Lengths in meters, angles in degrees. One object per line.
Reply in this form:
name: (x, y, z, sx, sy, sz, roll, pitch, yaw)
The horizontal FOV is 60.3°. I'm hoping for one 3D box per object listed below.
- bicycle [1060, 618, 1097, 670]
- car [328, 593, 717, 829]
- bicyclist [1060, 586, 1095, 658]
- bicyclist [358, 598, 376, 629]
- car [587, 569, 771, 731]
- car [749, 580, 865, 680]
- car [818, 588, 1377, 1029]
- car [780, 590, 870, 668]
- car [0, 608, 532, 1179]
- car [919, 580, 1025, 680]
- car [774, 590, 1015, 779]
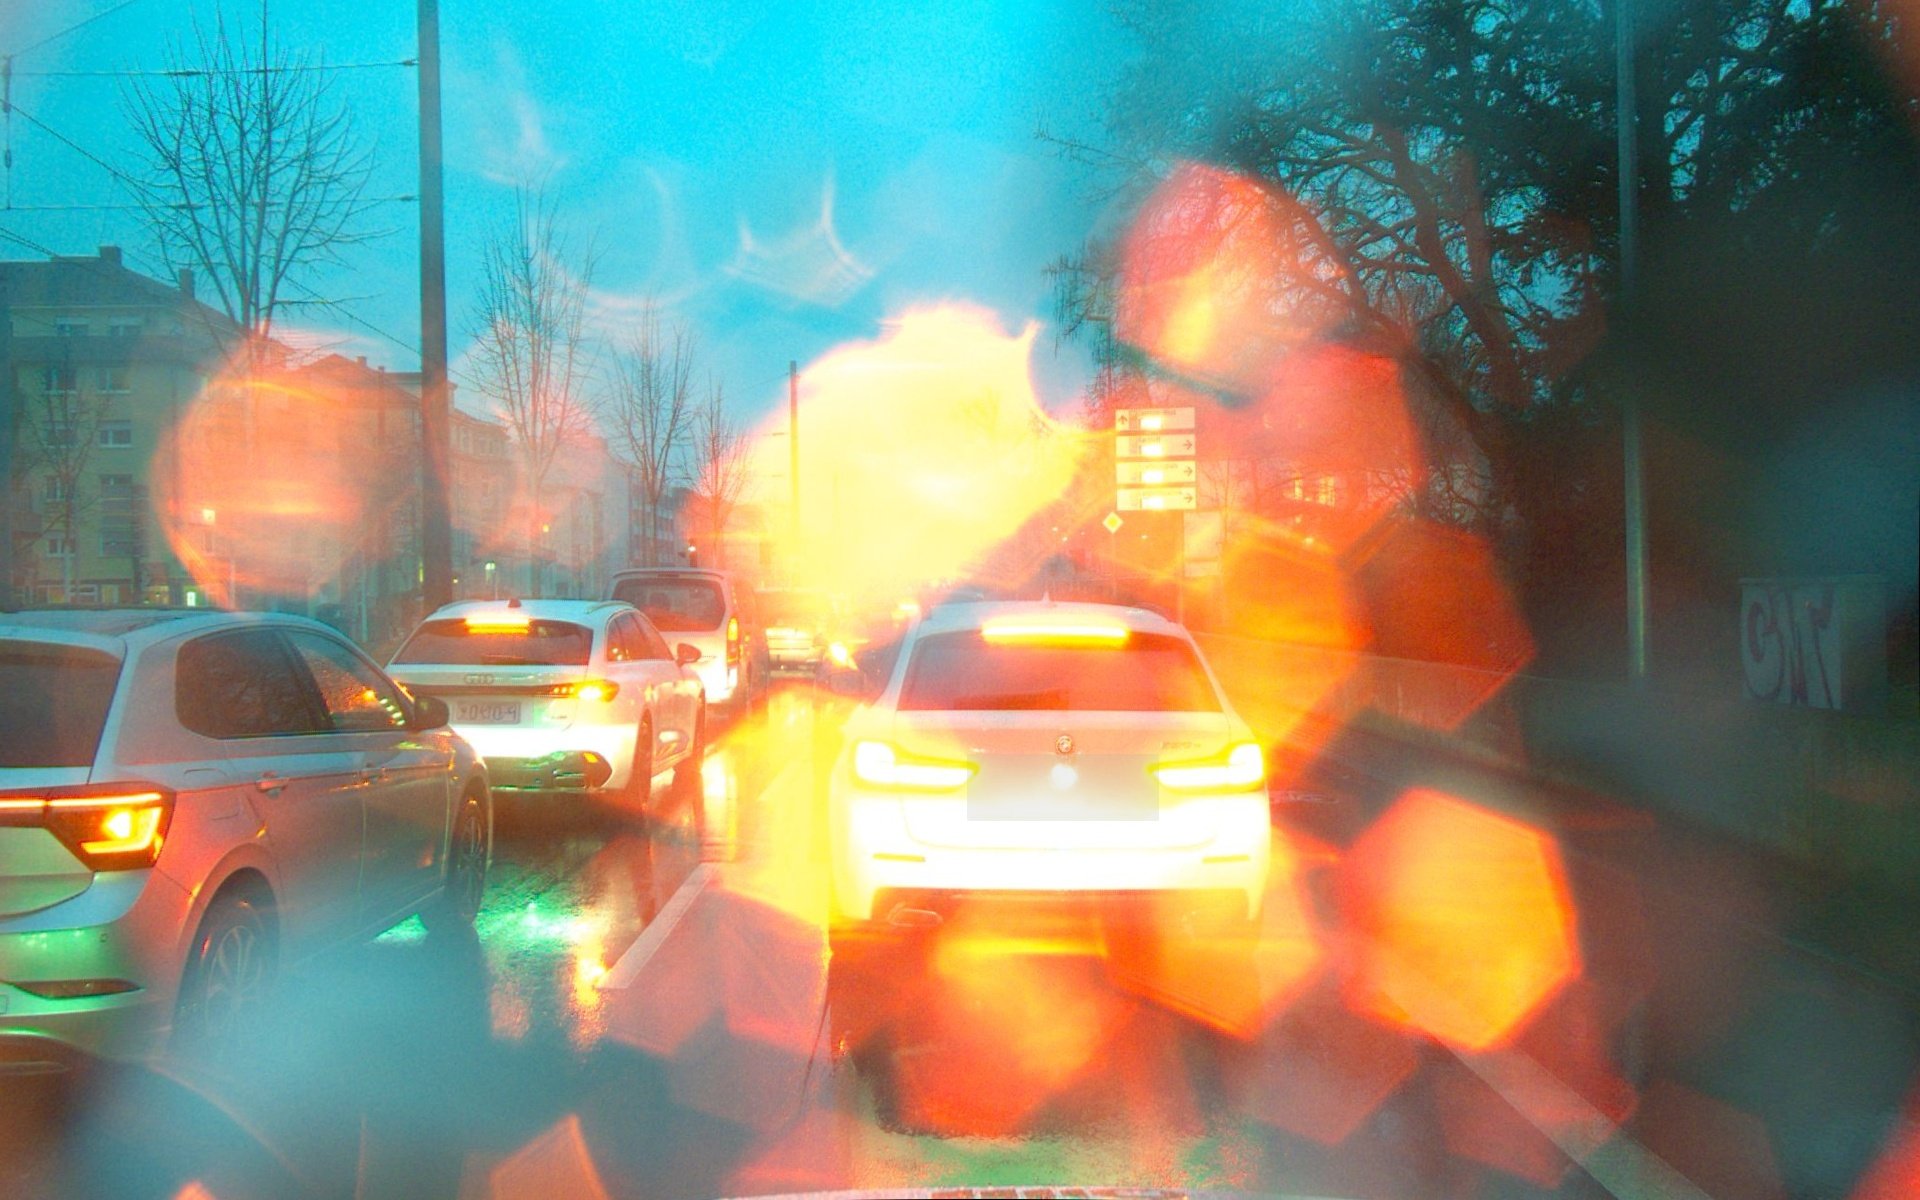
bicycle: (2.397, 0.881, 33.572, 0.632, 0.983, 2.047, -1, 0, 1)
car: (-3.002, 0.683, 12.389, 1.809, 1.430, 4.612, 0, 0, -2)
bicyclist: (2.376, 0.436, 33.465, 0.632, 1.413, 0.890, -1, 0, 1)
bicyclist: (-30.788, 0.702, 85.833, 0.780, 1.607, 0.631, 1, 0, -31)
car: (-3.333, 0.549, 20.376, 1.758, 1.766, 4.533, 0, 0, -4)
car: (-2.698, 0.494, 29.920, 1.770, 1.674, 3.999, 0, 0, -1)
car: (0.457, 0.715, 7.874, 1.958, 1.534, 4.162, 0, 0, -1)
car: (-3.031, 0.608, 37.752, 1.770, 1.674, 3.999, 0, 0, -1)
car: (-2.901, 0.741, 6.082, 1.727, 1.395, 3.980, 0, 0, -2)
car: (0.181, 0.498, 29.789, 1.770, 1.674, 3.999, 0, 0, -1)
car: (-0.544, 0.650, 15.109, 1.896, 1.483, 4.162, 0, 0, -1)
